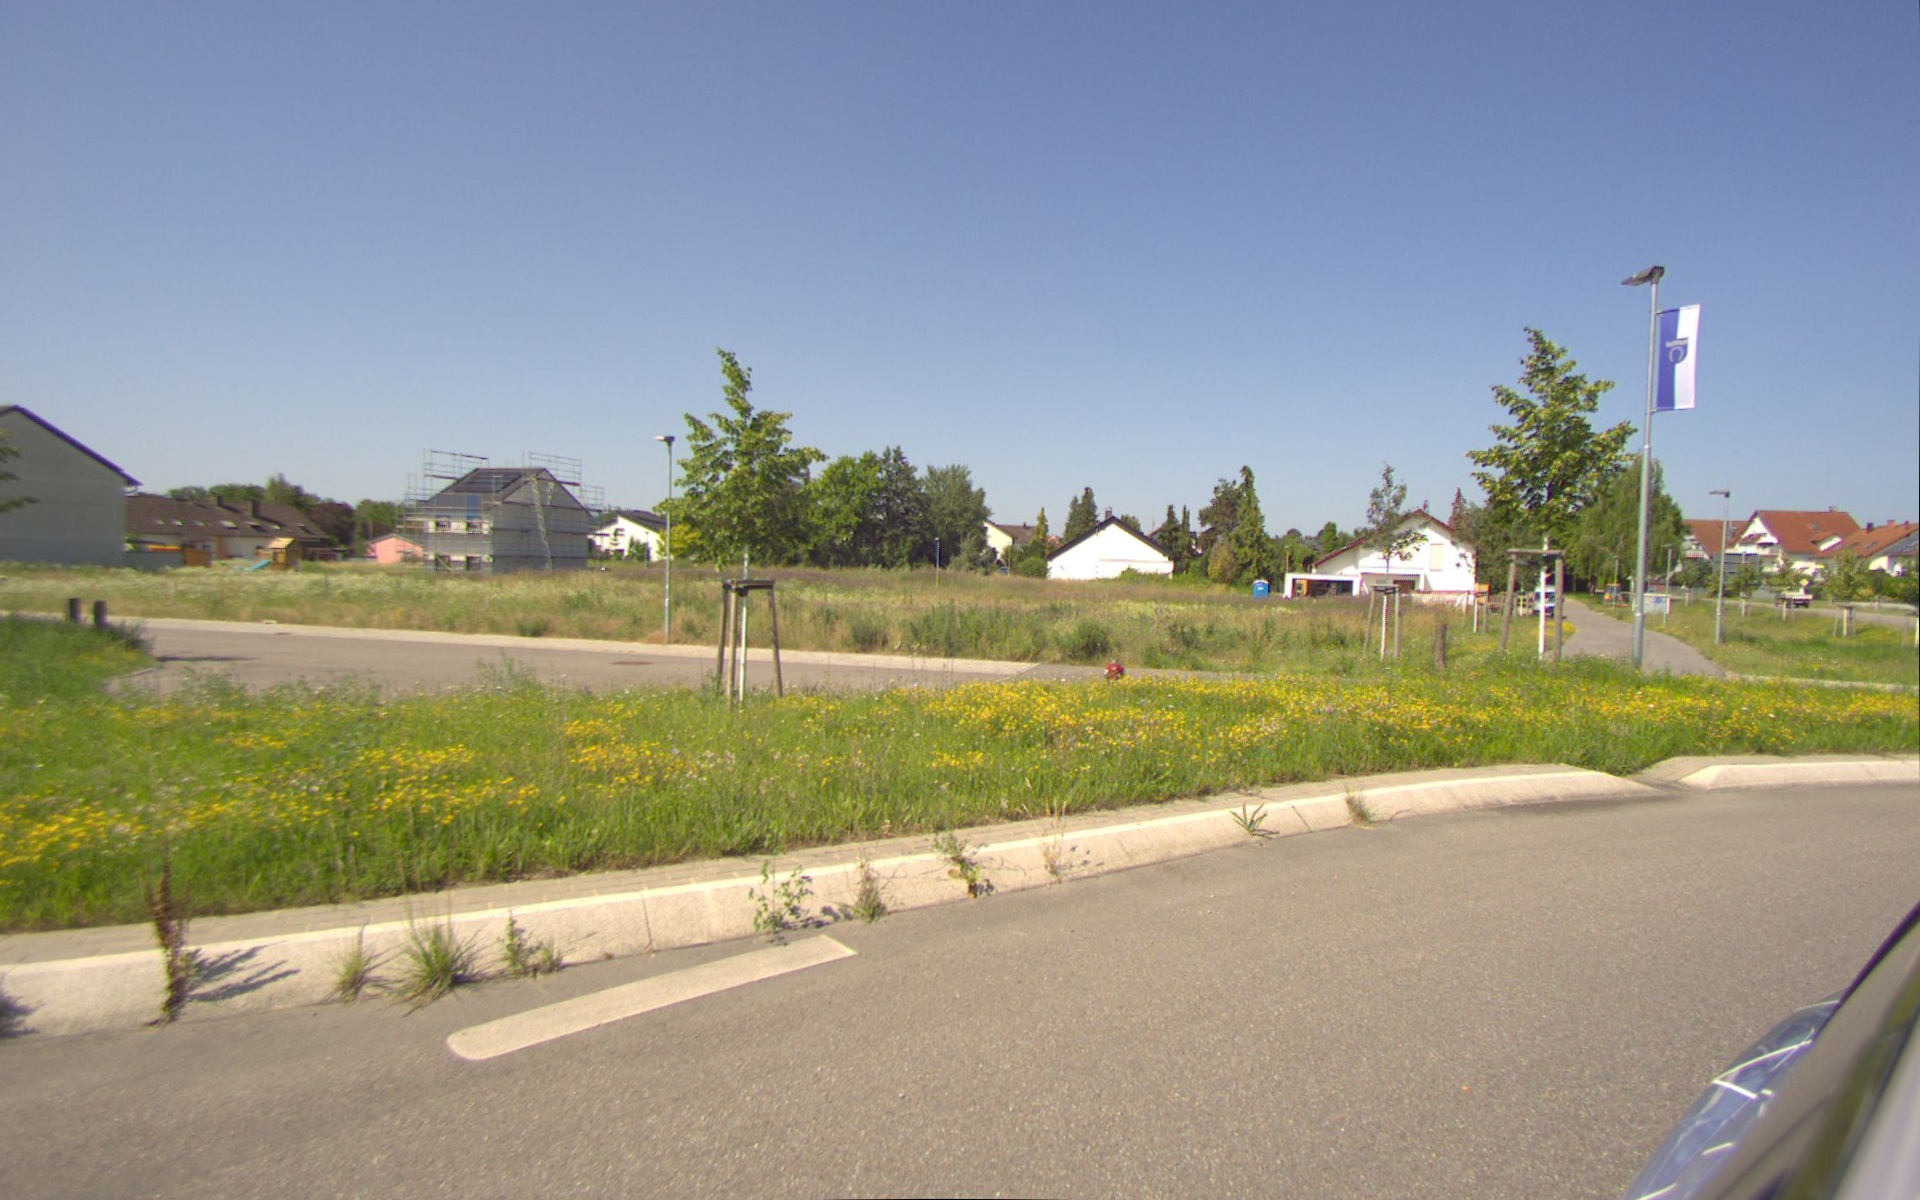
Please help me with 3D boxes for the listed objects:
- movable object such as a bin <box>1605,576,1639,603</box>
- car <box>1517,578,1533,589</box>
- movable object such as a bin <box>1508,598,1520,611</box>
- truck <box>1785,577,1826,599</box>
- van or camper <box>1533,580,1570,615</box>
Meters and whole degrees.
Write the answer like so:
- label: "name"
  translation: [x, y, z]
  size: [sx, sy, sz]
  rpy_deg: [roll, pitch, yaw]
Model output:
- label: "movable object such as a bin"
  translation: [63.686, -0.988, 97.451]
  size: [2.304, 2.494, 6.871]
  rpy_deg: [1, 0, 30]
- label: "car"
  translation: [84.043, -2.492, 150.554]
  size: [1.846, 1.463, 4.131]
  rpy_deg: [1, 2, 26]
- label: "movable object such as a bin"
  translation: [43.210, 0.365, 78.948]
  size: [0.690, 0.949, 0.630]
  rpy_deg: [2, 2, 35]
- label: "truck"
  translation: [79.518, -1.128, 95.273]
  size: [1.941, 2.009, 5.585]
  rpy_deg: [1, 2, 30]
- label: "van or camper"
  translation: [46.870, -0.259, 80.345]
  size: [2.159, 2.633, 5.973]
  rpy_deg: [2, 2, 27]
